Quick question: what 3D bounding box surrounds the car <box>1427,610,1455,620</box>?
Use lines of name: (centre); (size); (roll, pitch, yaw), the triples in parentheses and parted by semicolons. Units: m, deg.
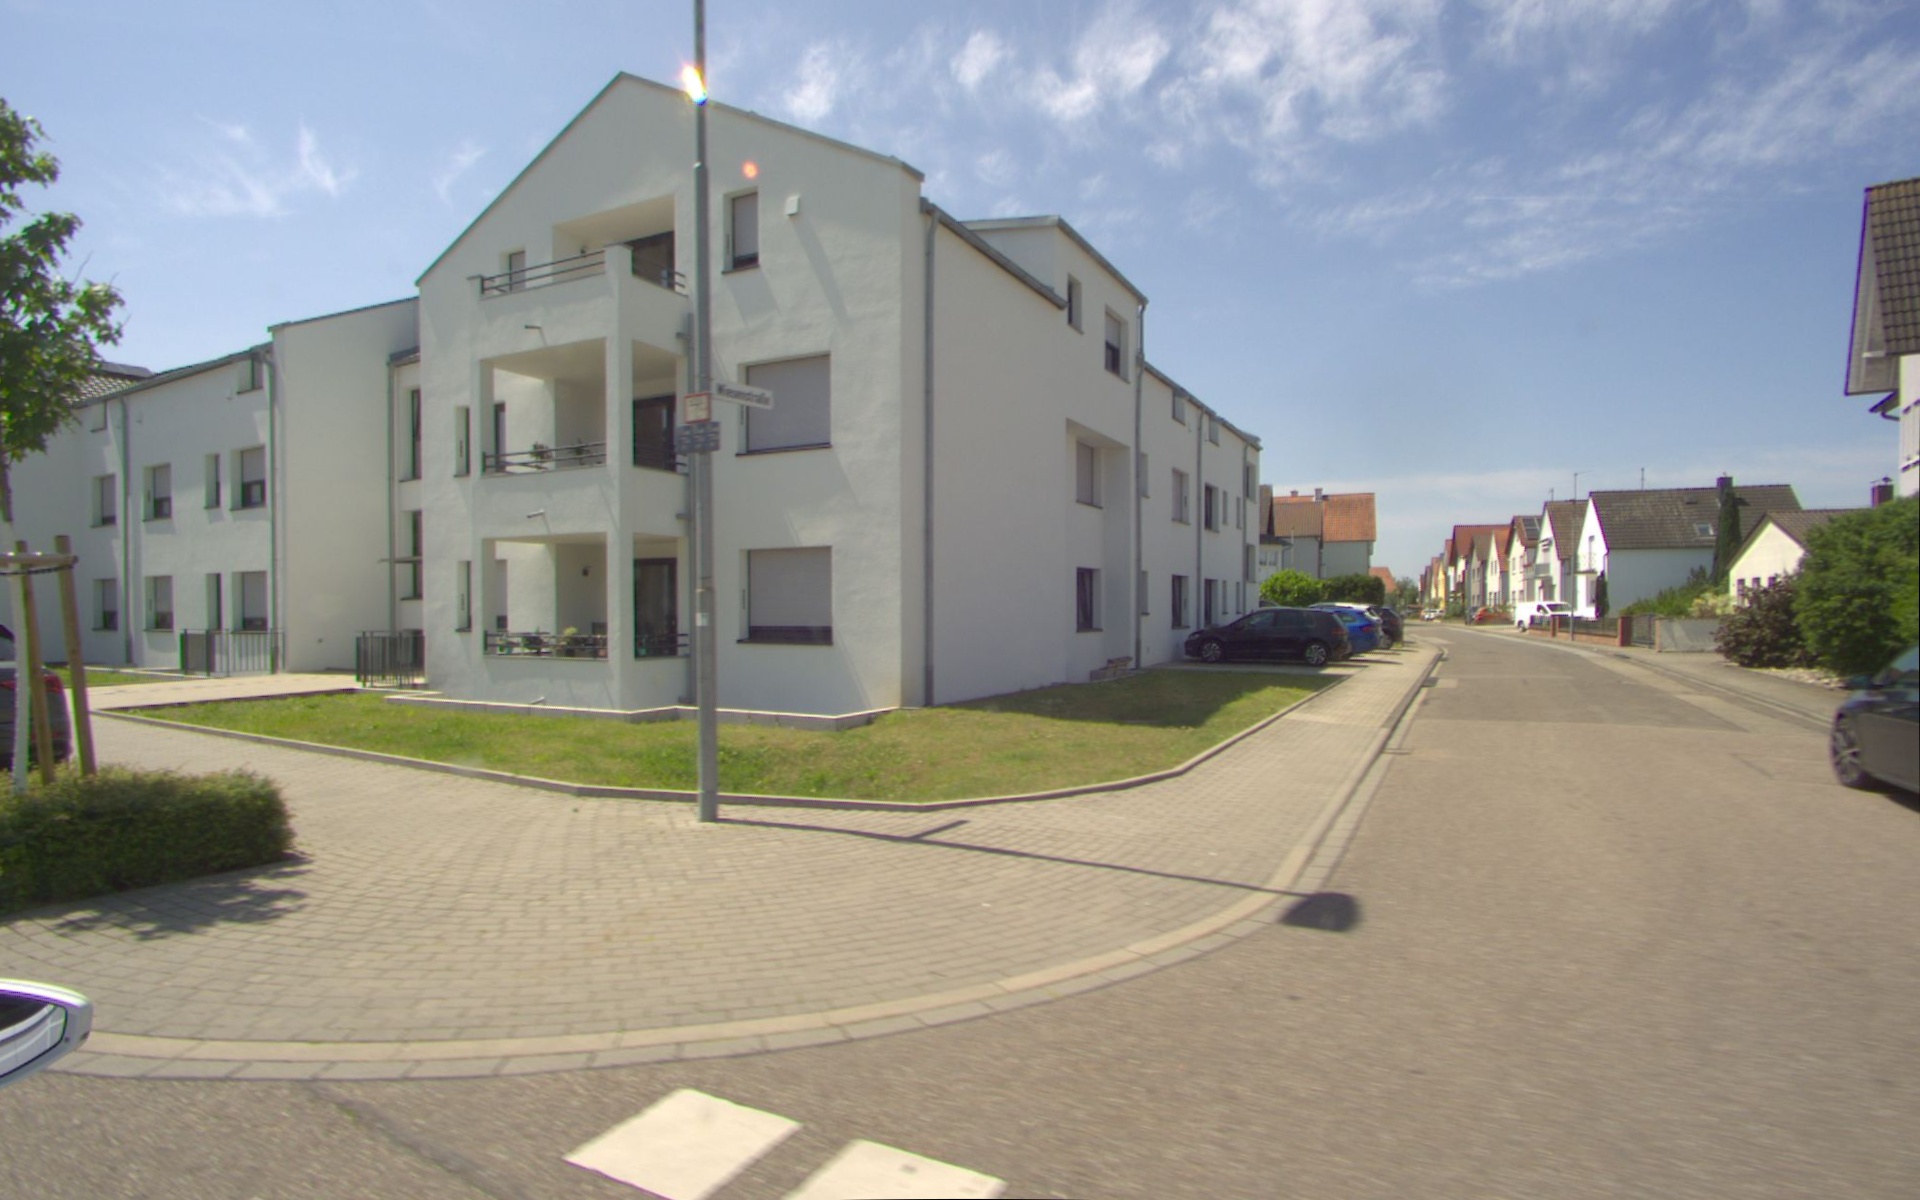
car: (58.507, 1.869, 121.887); (3.042, 1.181, 1.295); (0, 0, 26)

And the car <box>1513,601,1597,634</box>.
car: (34.723, 0.993, 58.584); (1.961, 1.901, 4.455); (0, 0, -6)

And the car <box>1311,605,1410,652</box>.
car: (14.112, 0.966, 35.301); (3.165, 1.597, 1.457); (0, 0, 26)

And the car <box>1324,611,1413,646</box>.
car: (16.047, 1.106, 39.330); (3.165, 1.297, 1.457); (0, 0, 26)

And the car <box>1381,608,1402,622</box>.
car: (43.105, 1.478, 100.070); (1.738, 1.360, 3.970); (0, -1, 21)

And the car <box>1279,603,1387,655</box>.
car: (12.108, 0.900, 32.496); (3.165, 1.597, 1.457); (0, 0, 26)

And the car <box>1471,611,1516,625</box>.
car: (45.108, 1.501, 84.725); (3.342, 1.181, 1.295); (0, 0, 26)

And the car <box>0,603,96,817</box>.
car: (-9.196, 0.832, 8.408); (4.217, 1.616, 1.770); (0, 0, 32)

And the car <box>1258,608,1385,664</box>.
car: (9.990, 0.957, 27.678); (3.165, 1.460, 1.457); (0, 0, 26)

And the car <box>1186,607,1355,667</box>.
car: (8.049, 0.912, 25.994); (3.944, 1.431, 1.749); (0, 0, 28)

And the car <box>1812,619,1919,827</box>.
car: (7.942, 0.912, 7.259); (1.728, 1.487, 3.990); (0, 0, 26)
